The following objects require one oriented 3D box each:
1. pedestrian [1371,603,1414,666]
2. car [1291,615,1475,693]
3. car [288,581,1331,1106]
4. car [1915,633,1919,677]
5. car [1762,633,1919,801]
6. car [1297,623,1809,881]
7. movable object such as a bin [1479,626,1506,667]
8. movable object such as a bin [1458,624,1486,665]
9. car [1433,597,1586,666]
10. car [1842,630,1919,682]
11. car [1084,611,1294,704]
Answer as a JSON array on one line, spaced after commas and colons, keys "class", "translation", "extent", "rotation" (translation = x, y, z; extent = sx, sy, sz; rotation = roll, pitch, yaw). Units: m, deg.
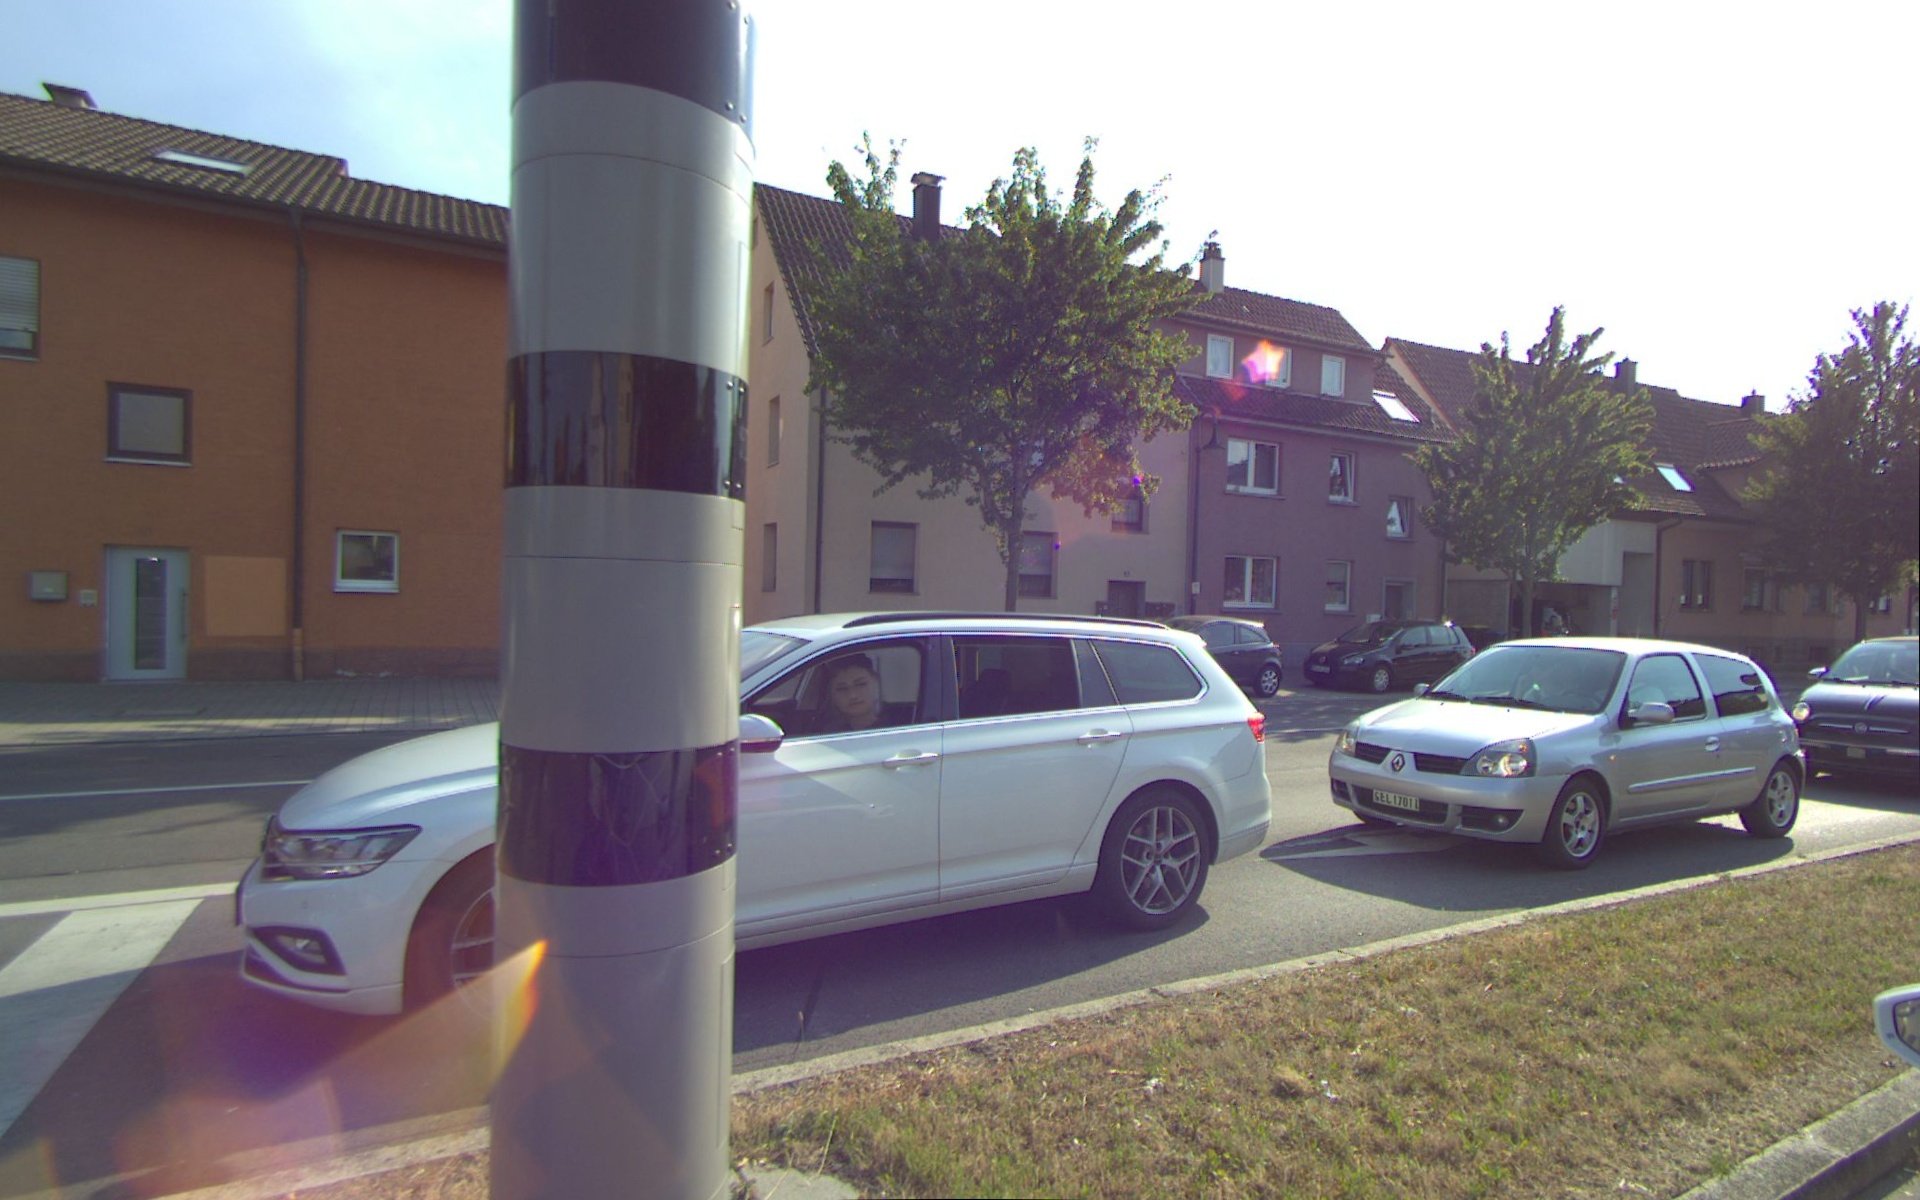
[{"class": "pedestrian", "translation": [11.699, 0.919, 27.186], "extent": [0.762, 1.629, 0.723], "rotation": [2, 3, 3]}, {"class": "car", "translation": [9.195, 1.117, 21.750], "extent": [4.086, 1.530, 1.610], "rotation": [1, 0, -32]}, {"class": "car", "translation": [-0.459, 0.735, 4.855], "extent": [4.514, 1.508, 1.825], "rotation": [1, 0, -31]}, {"class": "car", "translation": [35.126, 1.962, 34.729], "extent": [3.947, 1.499, 1.749], "rotation": [1, 3, -26]}, {"class": "car", "translation": [9.978, 1.104, 10.320], "extent": [3.463, 1.481, 1.525], "rotation": [1, 0, -29]}, {"class": "car", "translation": [4.331, 0.939, 7.278], "extent": [3.533, 1.446, 1.583], "rotation": [2, -1, -28]}, {"class": "movable object such as a bin", "translation": [15.118, 1.315, 28.504], "extent": [0.494, 1.152, 0.473], "rotation": [1, 0, -29]}, {"class": "movable object such as a bin", "translation": [14.754, 1.280, 28.925], "extent": [0.534, 1.152, 0.507], "rotation": [1, 0, -29]}, {"class": "car", "translation": [17.117, 0.946, 31.457], "extent": [1.756, 1.906, 3.806], "rotation": [2, 1, -27]}, {"class": "car", "translation": [30.983, 1.812, 32.906], "extent": [3.946, 1.507, 1.660], "rotation": [2, 2, -25]}, {"class": "car", "translation": [4.333, 1.017, 18.827], "extent": [3.841, 1.531, 1.504], "rotation": [1, 1, -31]}]
